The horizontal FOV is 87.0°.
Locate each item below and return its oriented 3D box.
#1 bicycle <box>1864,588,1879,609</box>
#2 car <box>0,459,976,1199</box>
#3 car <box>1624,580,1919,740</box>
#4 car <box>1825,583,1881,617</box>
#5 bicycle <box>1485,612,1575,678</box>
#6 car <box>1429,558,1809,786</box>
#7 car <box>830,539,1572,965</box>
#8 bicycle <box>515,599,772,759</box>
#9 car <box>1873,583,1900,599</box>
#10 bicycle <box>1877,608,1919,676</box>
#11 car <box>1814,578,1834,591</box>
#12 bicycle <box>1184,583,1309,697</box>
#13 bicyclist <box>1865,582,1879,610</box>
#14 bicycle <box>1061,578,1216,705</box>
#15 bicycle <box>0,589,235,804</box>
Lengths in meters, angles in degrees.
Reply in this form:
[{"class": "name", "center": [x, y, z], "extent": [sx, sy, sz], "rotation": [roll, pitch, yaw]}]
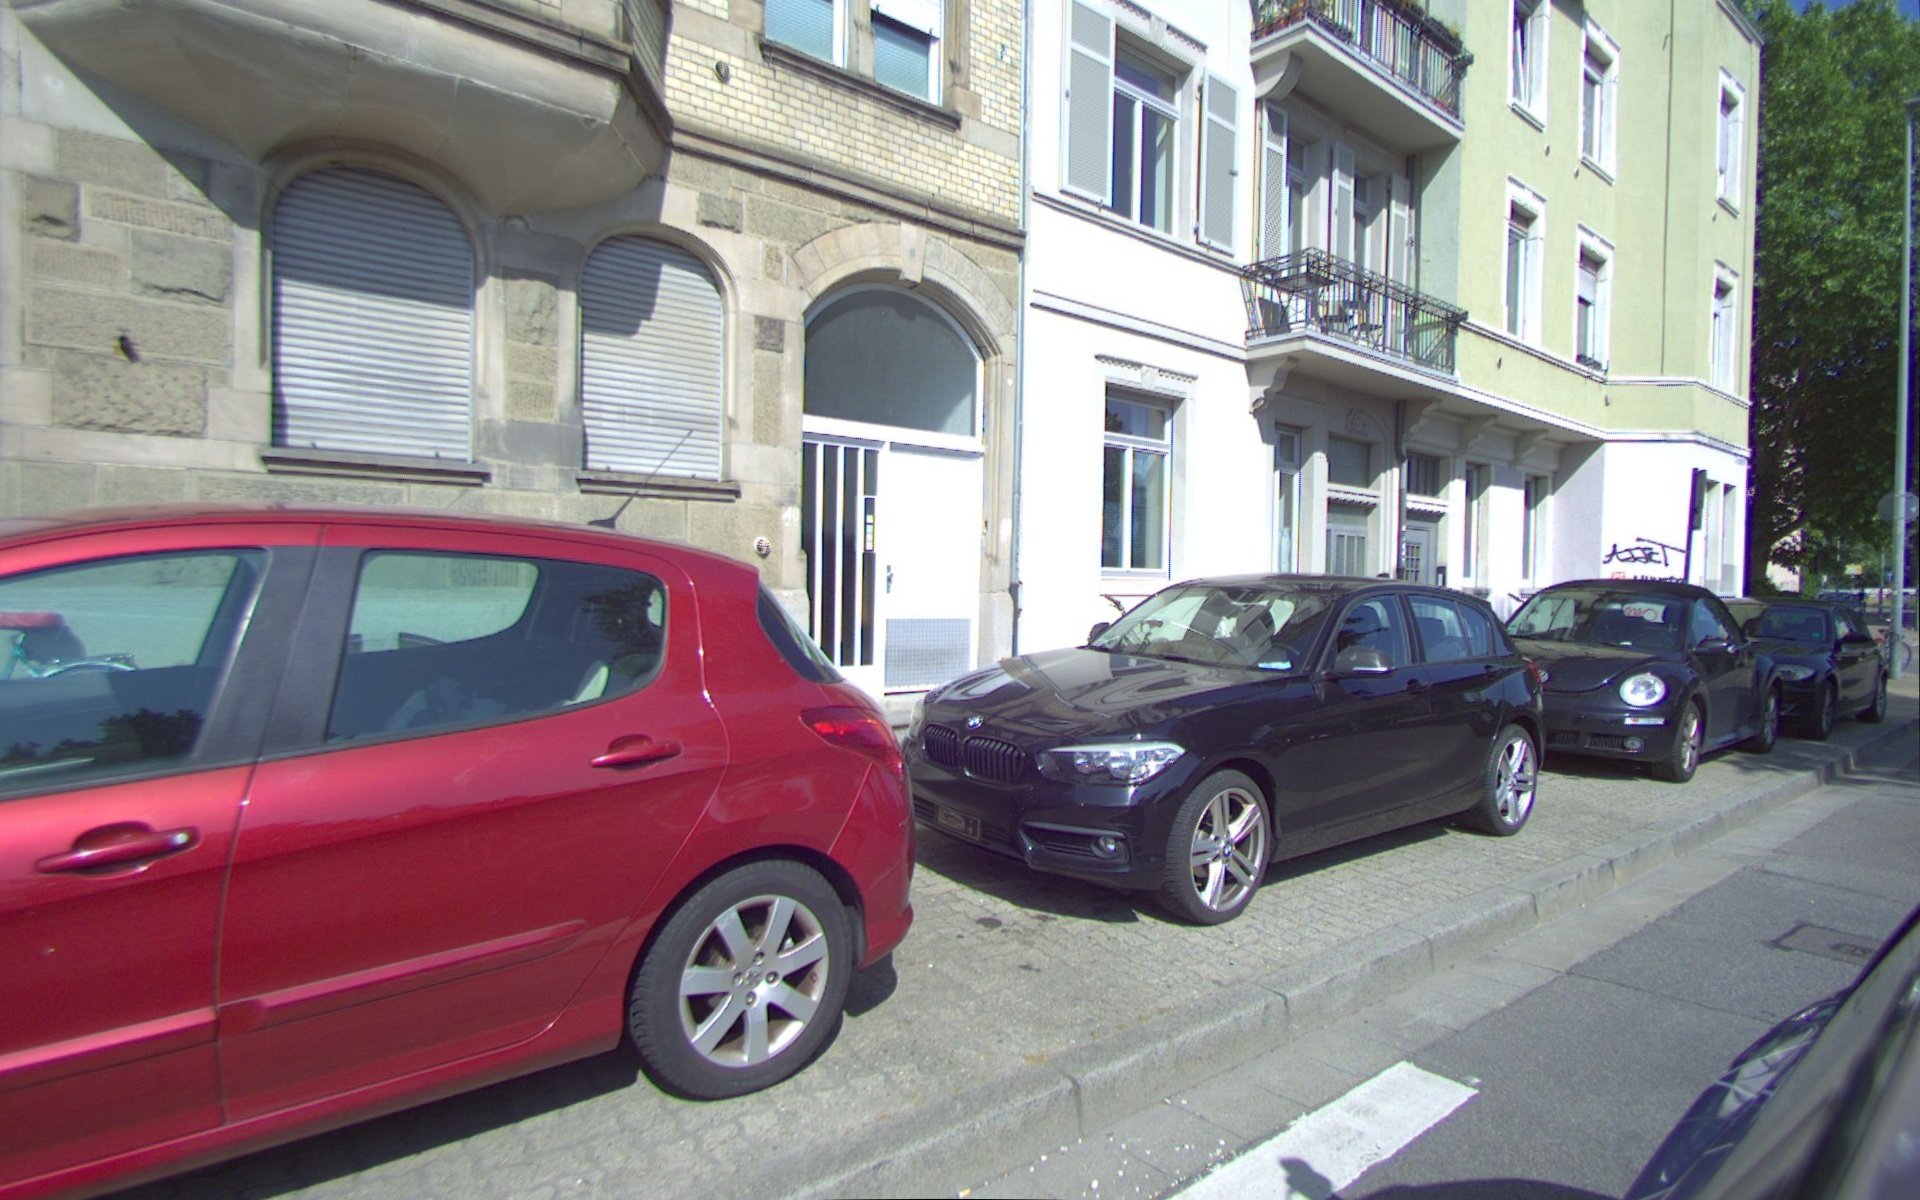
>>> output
[{"class": "bicycle", "center": [55.021, -0.090, 61.058], "extent": [1.265, 1.203, 0.553], "rotation": [0, 2, -45]}, {"class": "car", "center": [-2.057, 0.468, 2.464], "extent": [3.927, 1.500, 1.790], "rotation": [0, 3, -39]}, {"class": "car", "center": [9.270, 0.547, 11.459], "extent": [4.007, 1.433, 1.745], "rotation": [0, 3, -39]}, {"class": "car", "center": [43.742, -0.038, 49.639], "extent": [1.784, 1.531, 3.840], "rotation": [2, 2, 38]}, {"class": "bicycle", "center": [9.367, 0.709, 16.602], "extent": [2.077, 0.957, 0.609], "rotation": [0, 2, -41]}, {"class": "car", "center": [5.832, 0.460, 8.782], "extent": [3.939, 1.519, 1.646], "rotation": [0, 3, -40]}, {"class": "car", "center": [1.492, 0.491, 5.378], "extent": [4.051, 1.471, 1.647], "rotation": [0, 2, -38]}, {"class": "bicycle", "center": [-2.164, 0.495, 7.033], "extent": [1.622, 0.982, 0.509], "rotation": [0, 2, -37]}, {"class": "car", "center": [107.791, -1.072, 117.802], "extent": [1.623, 1.834, 3.550], "rotation": [2, 2, 33]}, {"class": "bicycle", "center": [16.711, 0.720, 17.903], "extent": [1.705, 1.101, 0.577], "rotation": [0, 2, -43]}, {"class": "car", "center": [121.174, -2.165, 141.947], "extent": [1.623, 1.834, 3.550], "rotation": [3, 2, 33]}, {"class": "bicycle", "center": [3.258, 0.419, 11.448], "extent": [1.598, 1.195, 0.567], "rotation": [0, 2, -41]}, {"class": "bicyclist", "center": [55.013, -0.236, 61.051], "extent": [0.540, 1.653, 0.580], "rotation": [3, 2, 45]}, {"class": "bicycle", "center": [1.831, 0.386, 10.280], "extent": [1.598, 1.160, 0.656], "rotation": [0, 3, -41]}, {"class": "bicycle", "center": [-4.685, 0.448, 4.958], "extent": [1.829, 0.982, 0.652], "rotation": [0, 2, -37]}]
